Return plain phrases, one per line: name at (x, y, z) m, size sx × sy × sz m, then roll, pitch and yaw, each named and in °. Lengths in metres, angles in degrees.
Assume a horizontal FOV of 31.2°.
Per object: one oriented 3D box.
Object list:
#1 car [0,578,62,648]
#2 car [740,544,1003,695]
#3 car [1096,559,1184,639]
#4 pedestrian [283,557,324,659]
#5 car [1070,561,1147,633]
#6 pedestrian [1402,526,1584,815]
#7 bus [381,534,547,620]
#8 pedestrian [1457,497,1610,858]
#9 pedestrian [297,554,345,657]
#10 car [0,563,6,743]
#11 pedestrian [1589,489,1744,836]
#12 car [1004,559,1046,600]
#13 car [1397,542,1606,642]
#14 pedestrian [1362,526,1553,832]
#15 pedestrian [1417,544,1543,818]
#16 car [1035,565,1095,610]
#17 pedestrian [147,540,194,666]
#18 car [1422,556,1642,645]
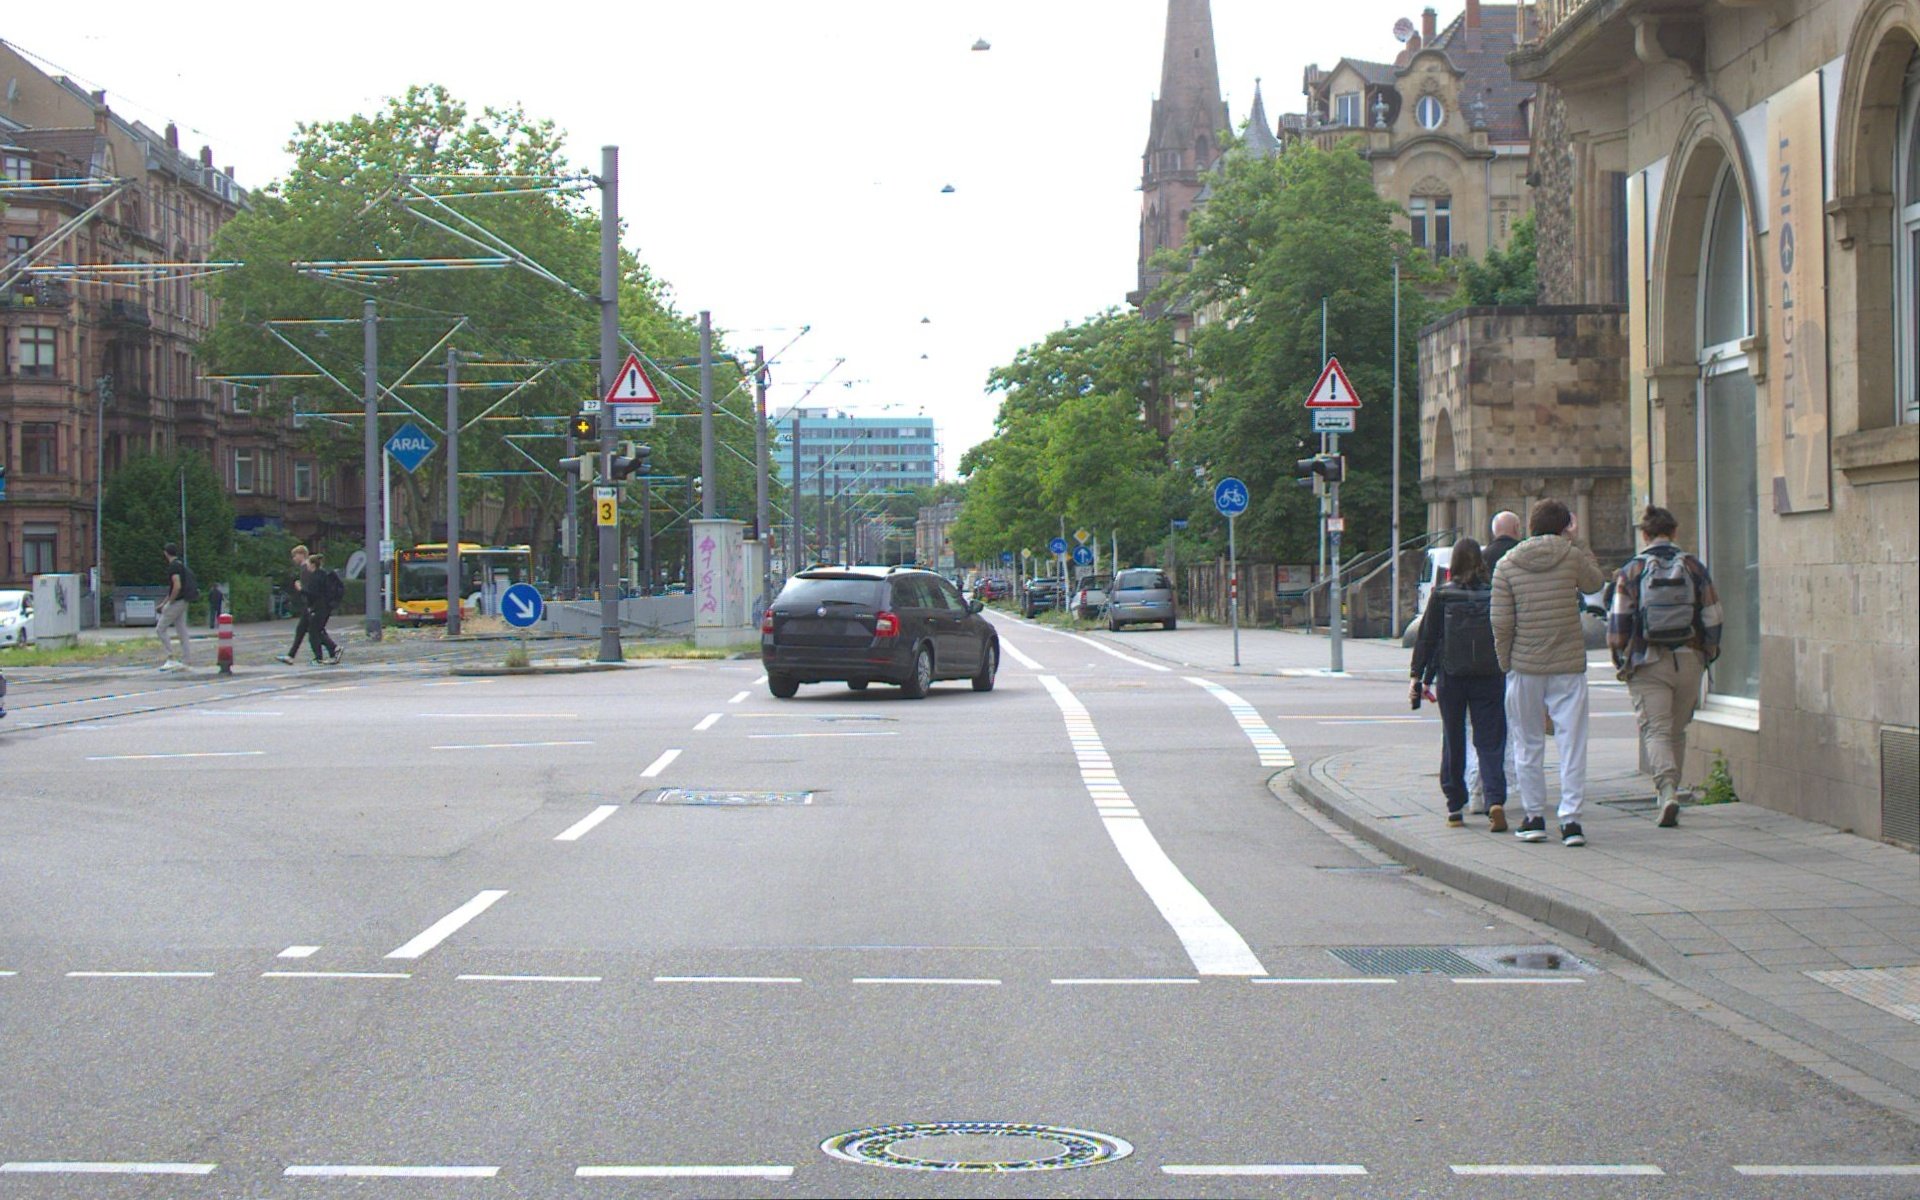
car at (-22.119, 0.276, 79.157) m, size 1.894 × 1.552 × 3.836 m, roll 1°, pitch 0°, yaw -1°
car at (-0.931, 0.201, 38.870) m, size 1.807 × 1.581 × 4.338 m, roll 1°, pitch 0°, yaw 15°
car at (4.691, -0.033, 90.085) m, size 1.993 × 2.007 × 4.000 m, roll 1°, pitch 0°, yaw -1°
pedestrian at (-9.958, 0.125, 52.175) m, size 0.545 × 1.532 × 0.466 m, roll 1°, pitch 0°, yaw -5°
car at (4.285, -0.095, 99.673) m, size 1.993 × 2.007 × 4.000 m, roll 1°, pitch 0°, yaw -1°
pedestrian at (3.368, 0.430, 21.741) m, size 0.917 × 1.778 × 0.646 m, roll 1°, pitch 0°, yaw 37°
bus at (-18.992, -0.867, 132.693) m, size 3.085 × 3.101 × 13.091 m, roll 1°, pitch 0°, yaw 7°
pedestrian at (2.979, 0.386, 17.813) m, size 0.583 × 1.807 × 1.014 m, roll 1°, pitch 0°, yaw 19°
pedestrian at (-9.599, 0.076, 51.642) m, size 0.653 × 1.532 × 0.466 m, roll 1°, pitch 0°, yaw -5°
car at (-9.955, 0.400, 27.758) m, size 3.979 × 1.464 × 1.841 m, roll 1°, pitch 0°, yaw -31°
pedestrian at (3.772, 0.325, 18.415) m, size 0.626 × 1.772 × 1.134 m, roll -3°, pitch 0°, yaw 7°
car at (3.246, -1.043, 172.371) m, size 1.993 × 2.007 × 4.000 m, roll 1°, pitch 0°, yaw -1°
car at (10.734, -0.169, 68.318) m, size 3.799 × 1.897 × 2.000 m, roll 1°, pitch 0°, yaw 0°
pedestrian at (2.774, 0.426, 19.121) m, size 0.627 × 1.647 × 0.994 m, roll 1°, pitch 0°, yaw 37°
pedestrian at (3.090, 0.471, 20.485) m, size 0.700 × 1.587 × 0.831 m, roll 1°, pitch 0°, yaw 8°
car at (3.910, -0.486, 128.486) m, size 1.993 × 1.602 × 4.164 m, roll -2°, pitch 0°, yaw -1°
pedestrian at (-11.339, 0.042, 49.386) m, size 0.573 × 1.788 × 0.519 m, roll 1°, pitch 0°, yaw -5°
car at (10.770, 0.003, 64.909) m, size 3.799 × 1.595 × 2.000 m, roll 1°, pitch 0°, yaw 0°
